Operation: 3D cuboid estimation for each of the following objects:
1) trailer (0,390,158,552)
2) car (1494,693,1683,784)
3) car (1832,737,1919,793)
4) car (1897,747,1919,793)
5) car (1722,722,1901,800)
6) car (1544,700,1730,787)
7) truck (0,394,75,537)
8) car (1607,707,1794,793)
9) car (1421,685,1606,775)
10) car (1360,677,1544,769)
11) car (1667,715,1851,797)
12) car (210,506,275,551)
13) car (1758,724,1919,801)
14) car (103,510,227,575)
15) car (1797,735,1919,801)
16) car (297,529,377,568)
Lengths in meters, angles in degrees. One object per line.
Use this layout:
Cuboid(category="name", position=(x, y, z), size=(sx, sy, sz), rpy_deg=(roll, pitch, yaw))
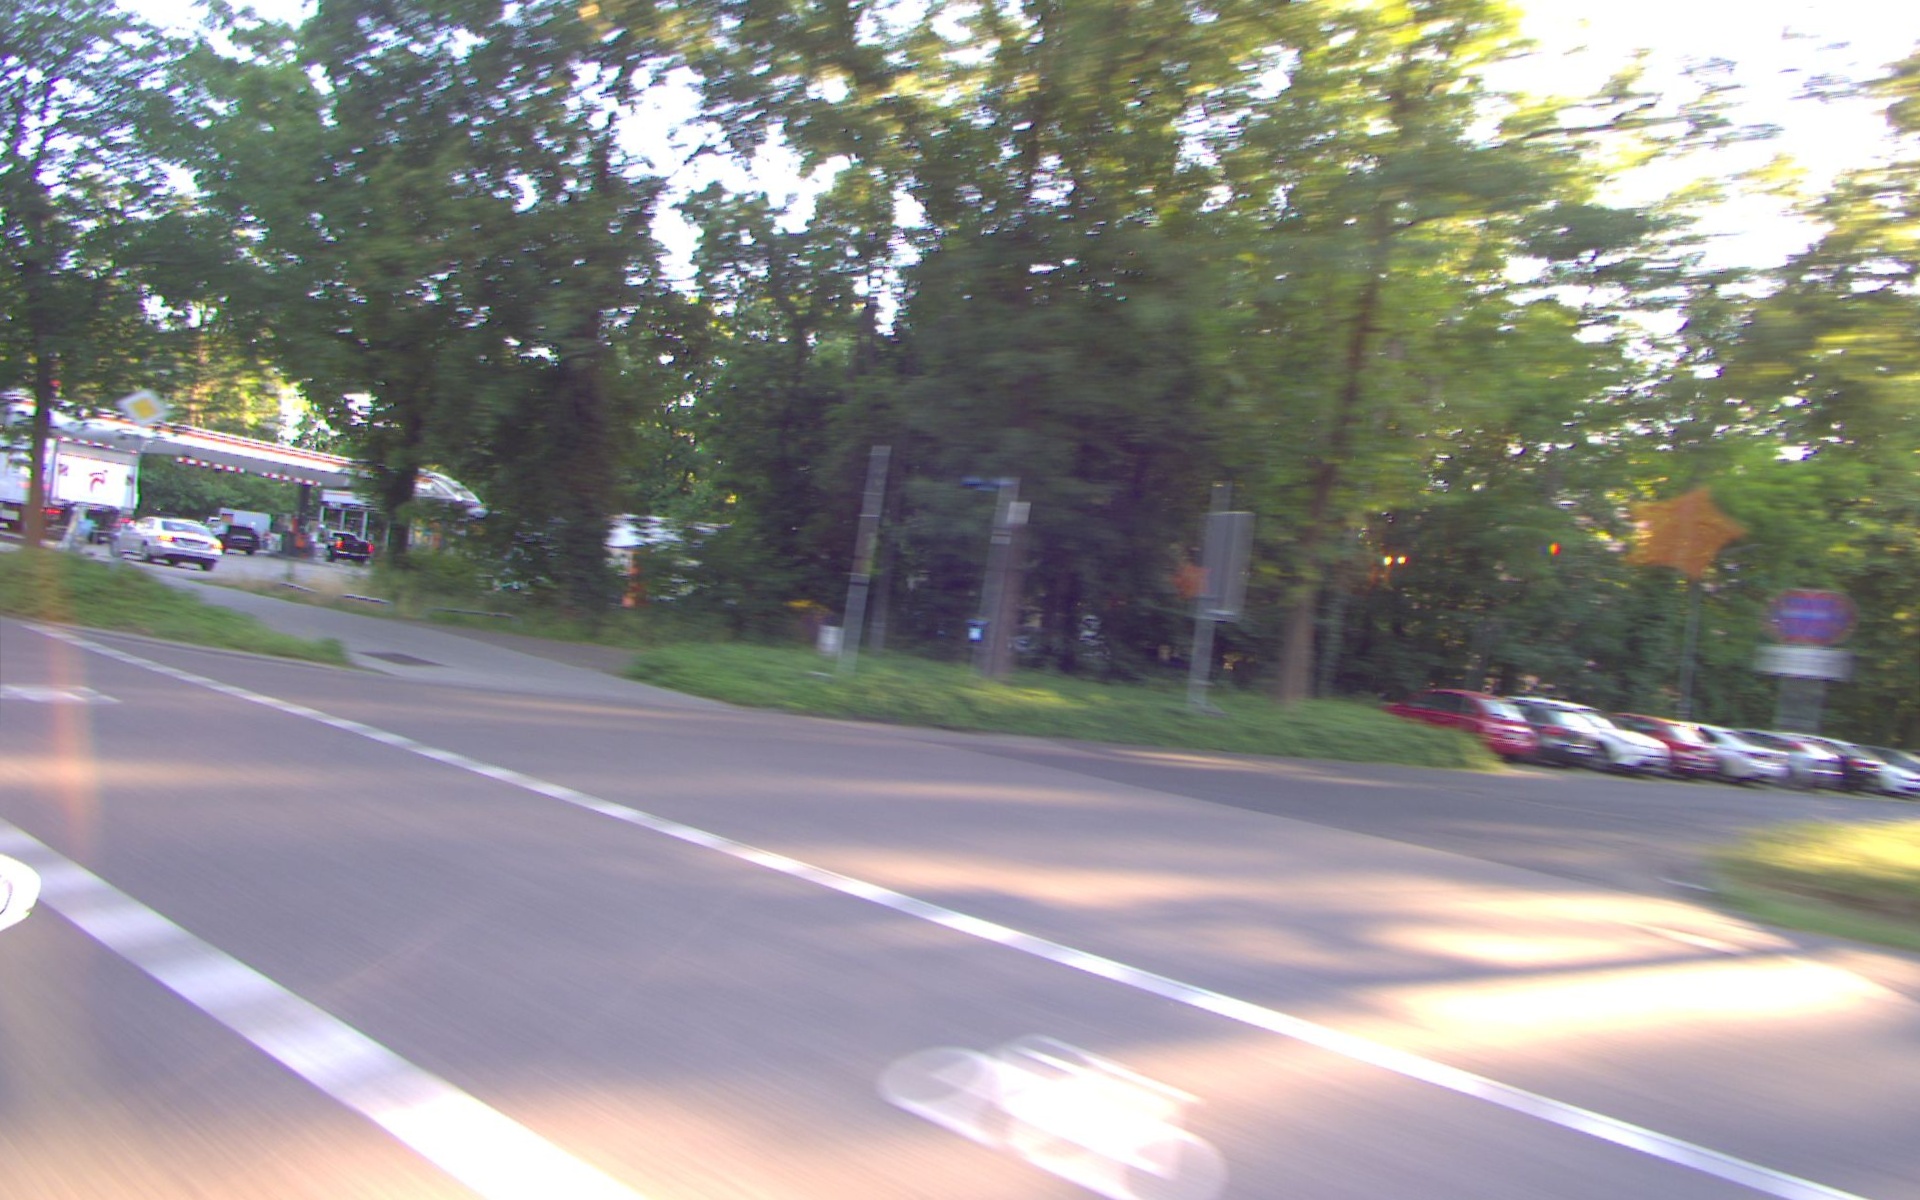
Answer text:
Cuboid(category="trailer", position=(-35.765, -5.151, 39.880), size=(7.798, 5.528, 3.026), rpy_deg=(7, 0, 29))
Cuboid(category="car", position=(16.160, 3.533, 26.072), size=(1.522, 1.667, 3.817), rpy_deg=(7, -1, -25))
Cuboid(category="car", position=(34.284, 6.093, 36.472), size=(1.522, 1.569, 3.622), rpy_deg=(7, -1, -25))
Cuboid(category="car", position=(36.610, 6.452, 36.366), size=(1.522, 1.569, 3.622), rpy_deg=(7, -1, -25))
Cuboid(category="car", position=(26.281, 4.938, 31.191), size=(1.522, 1.667, 3.817), rpy_deg=(7, -1, -25))
Cuboid(category="car", position=(18.245, 3.834, 27.312), size=(1.522, 1.667, 3.817), rpy_deg=(7, -1, -25))
Cuboid(category="truck", position=(-42.308, -5.952, 43.490), size=(8.264, 5.523, 3.038), rpy_deg=(7, 1, 29))
Cuboid(category="car", position=(20.586, 4.135, 28.139), size=(1.522, 1.667, 3.817), rpy_deg=(7, -1, -25))
Cuboid(category="car", position=(13.862, 3.219, 25.418), size=(1.522, 1.604, 3.817), rpy_deg=(7, -1, -25))
Cuboid(category="car", position=(11.960, 2.965, 24.716), size=(1.522, 1.604, 3.817), rpy_deg=(7, -1, -25))
Cuboid(category="car", position=(23.229, 4.496, 29.397), size=(1.522, 1.667, 3.817), rpy_deg=(7, -1, -25))
Cuboid(category="car", position=(-46.318, -4.608, 64.946), size=(4.548, 2.374, 1.772), rpy_deg=(7, -2, 35))
Cuboid(category="car", position=(28.687, 5.227, 32.633), size=(1.522, 1.667, 3.969), rpy_deg=(7, 0, -25))
Cuboid(category="car", position=(-25.949, -1.895, 32.782), size=(4.743, 1.601, 1.772), rpy_deg=(6, -2, 35))
Cuboid(category="car", position=(30.811, 5.672, 33.888), size=(1.522, 1.569, 3.622), rpy_deg=(7, -1, -25))
Cuboid(category="car", position=(-34.616, -2.855, 55.855), size=(4.548, 1.601, 1.991), rpy_deg=(6, -2, 35))
